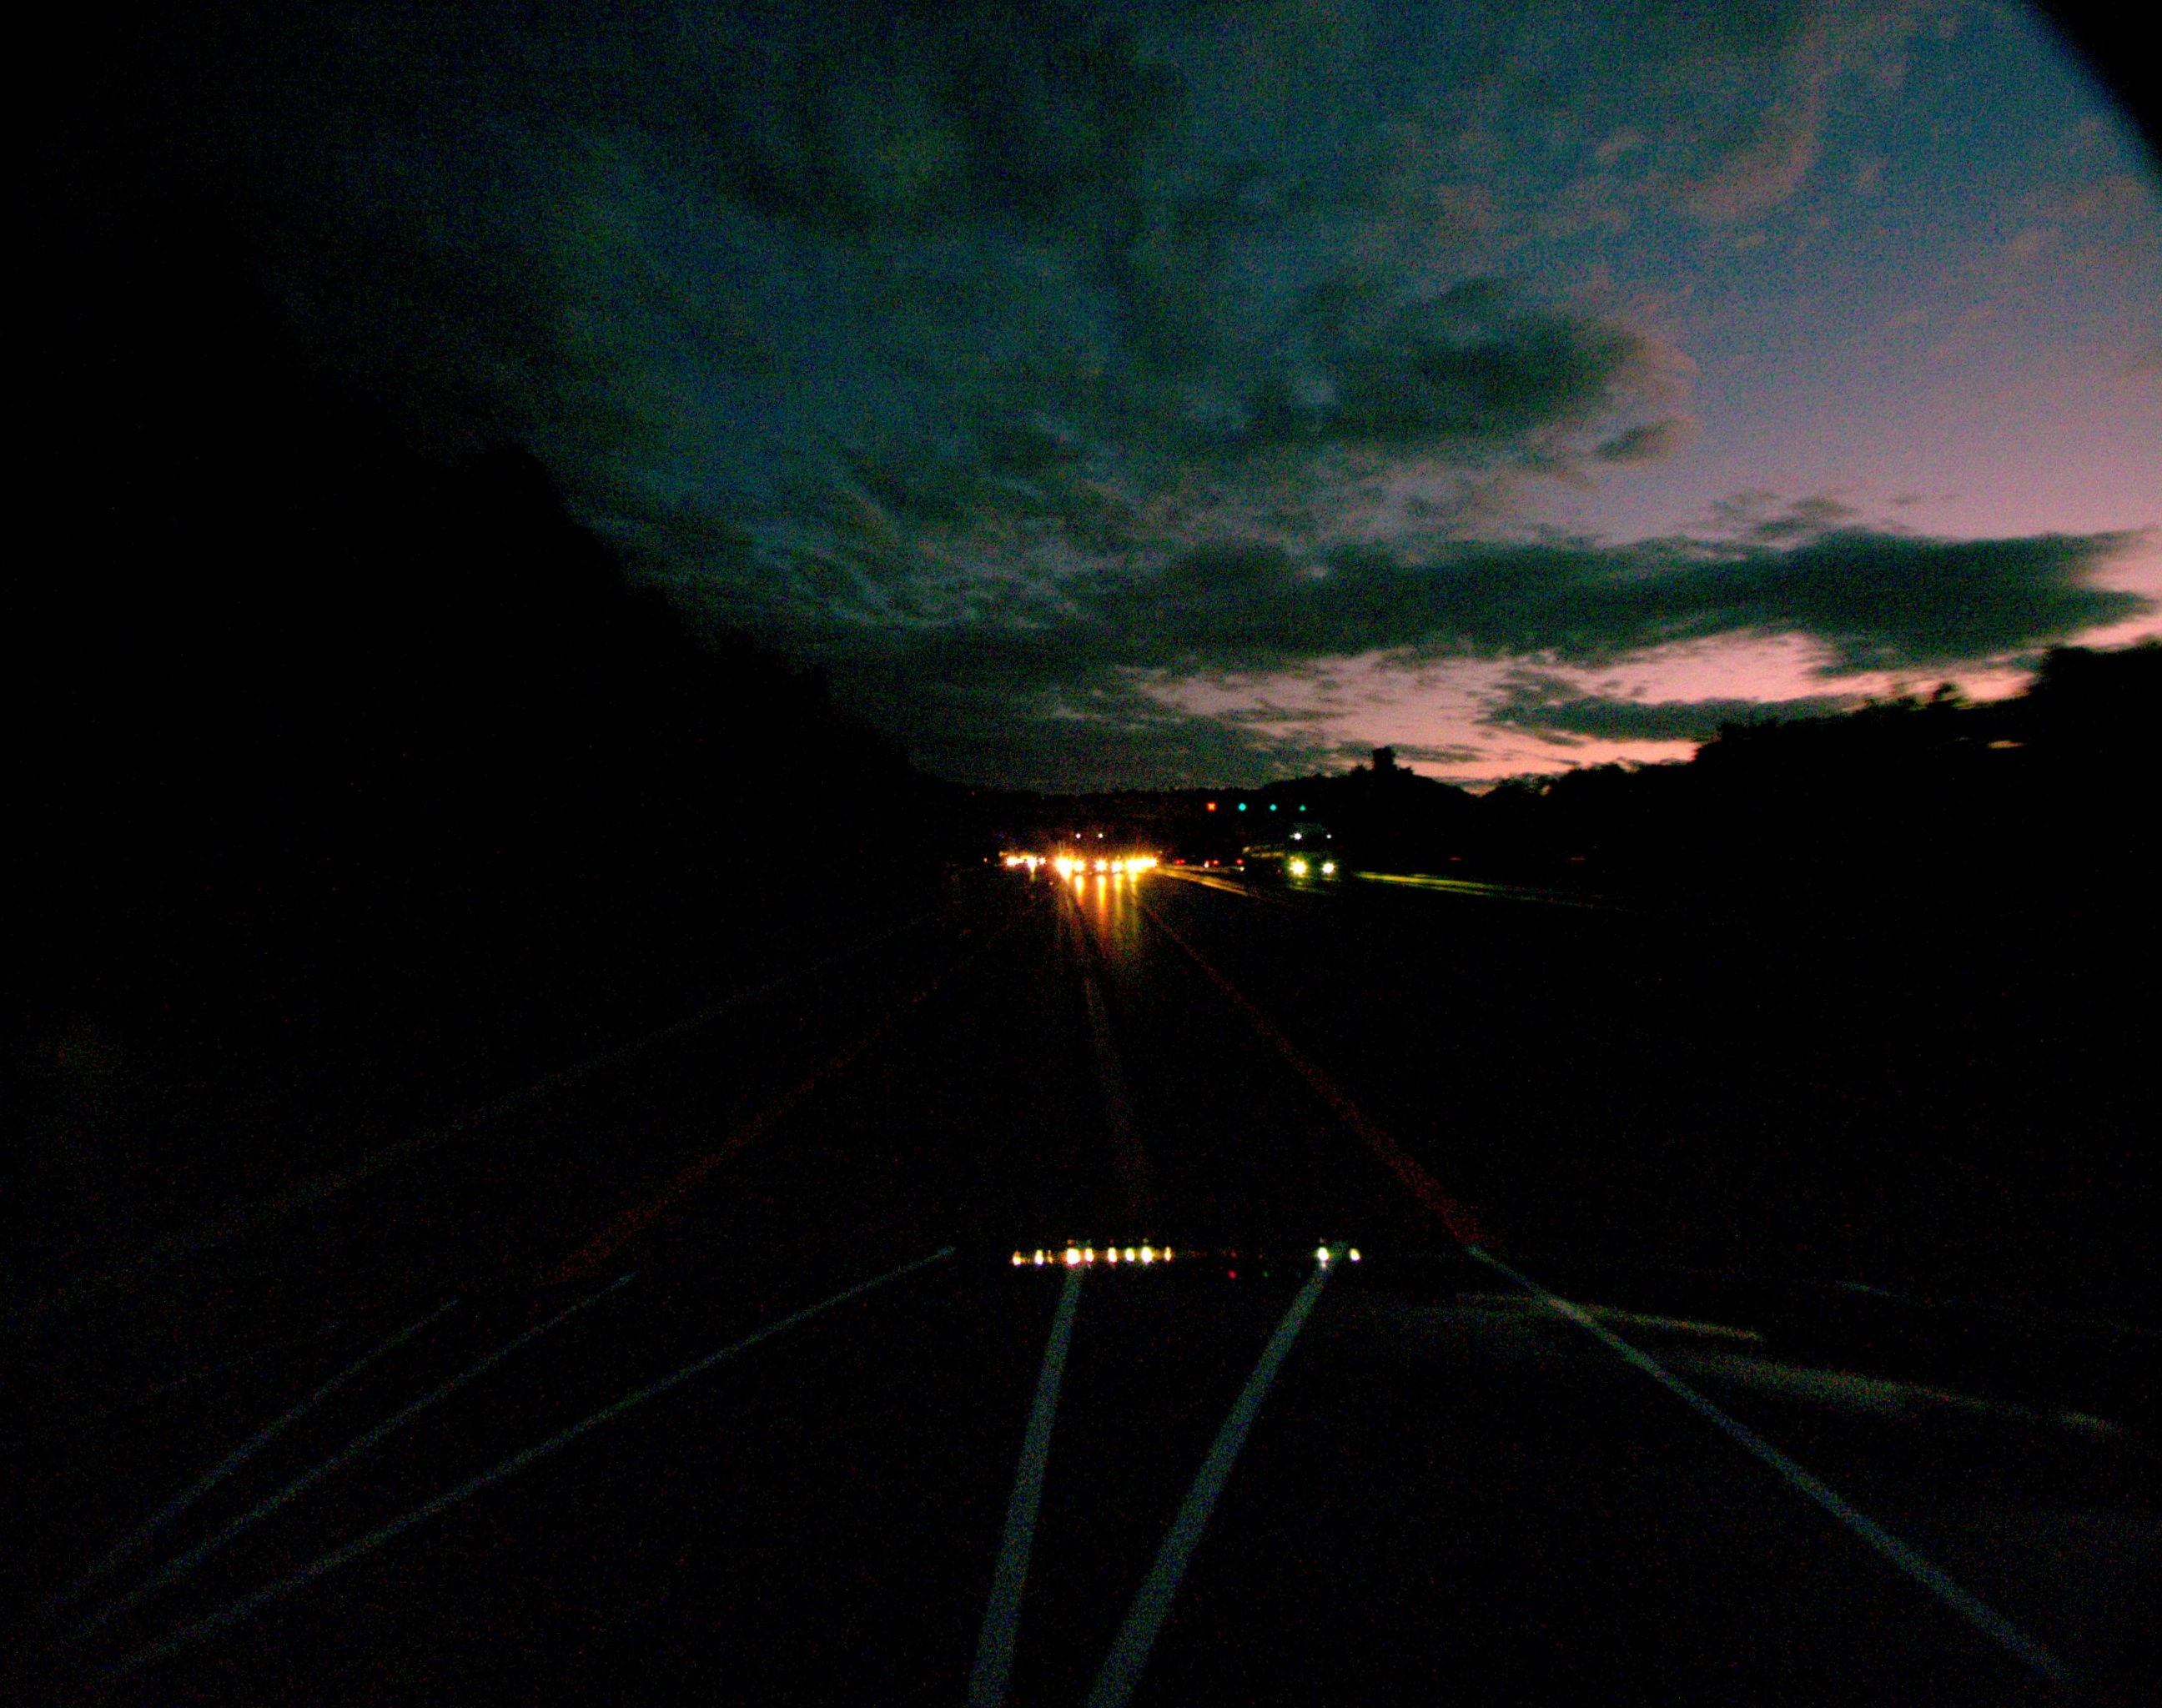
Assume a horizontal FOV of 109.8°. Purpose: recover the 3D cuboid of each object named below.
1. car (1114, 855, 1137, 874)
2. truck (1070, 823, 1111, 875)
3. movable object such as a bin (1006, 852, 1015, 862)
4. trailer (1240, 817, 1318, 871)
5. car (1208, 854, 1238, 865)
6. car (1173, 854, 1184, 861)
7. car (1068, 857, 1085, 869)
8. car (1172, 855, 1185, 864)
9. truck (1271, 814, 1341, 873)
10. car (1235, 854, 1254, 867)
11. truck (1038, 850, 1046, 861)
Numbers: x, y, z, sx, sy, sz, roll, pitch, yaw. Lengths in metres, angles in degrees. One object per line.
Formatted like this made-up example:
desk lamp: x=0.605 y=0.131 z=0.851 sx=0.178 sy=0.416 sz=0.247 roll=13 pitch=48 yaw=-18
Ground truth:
car: x=3.966 y=0.921 z=68.018 sx=1.663 sy=1.586 sz=3.995 roll=-2 pitch=0 yaw=-2
truck: x=0.725 y=-0.409 z=68.958 sx=2.954 sy=4.241 sz=11.049 roll=-2 pitch=0 yaw=-3
movable object such as a bin: x=-22.885 y=0.967 z=245.501 sx=2.629 sy=3.090 sz=5.802 roll=0 pitch=0 yaw=-7
trailer: x=15.574 y=-0.746 z=60.916 sx=2.806 sy=3.761 sz=11.833 roll=-2 pitch=0 yaw=-1
car: x=21.480 y=0.829 z=115.155 sx=4.005 sy=1.689 sz=1.996 roll=-1 pitch=0 yaw=-25
car: x=20.767 y=0.752 z=162.474 sx=1.707 sy=1.447 sz=3.929 roll=-2 pitch=0 yaw=-3
car: x=-0.609 y=1.191 z=101.541 sx=1.927 sy=1.606 sz=3.998 roll=-1 pitch=0 yaw=-6
car: x=19.089 y=1.003 z=149.050 sx=1.835 sy=1.651 sz=4.840 roll=-2 pitch=0 yaw=-1
truck: x=15.626 y=-0.711 z=53.245 sx=2.810 sy=3.753 sz=6.301 roll=-2 pitch=0 yaw=-1
car: x=24.114 y=0.957 z=111.939 sx=1.912 sy=1.704 sz=3.943 roll=-2 pitch=0 yaw=0
truck: x=-10.933 y=0.353 z=214.365 sx=1.999 sy=2.817 sz=6.295 roll=-2 pitch=0 yaw=-1
